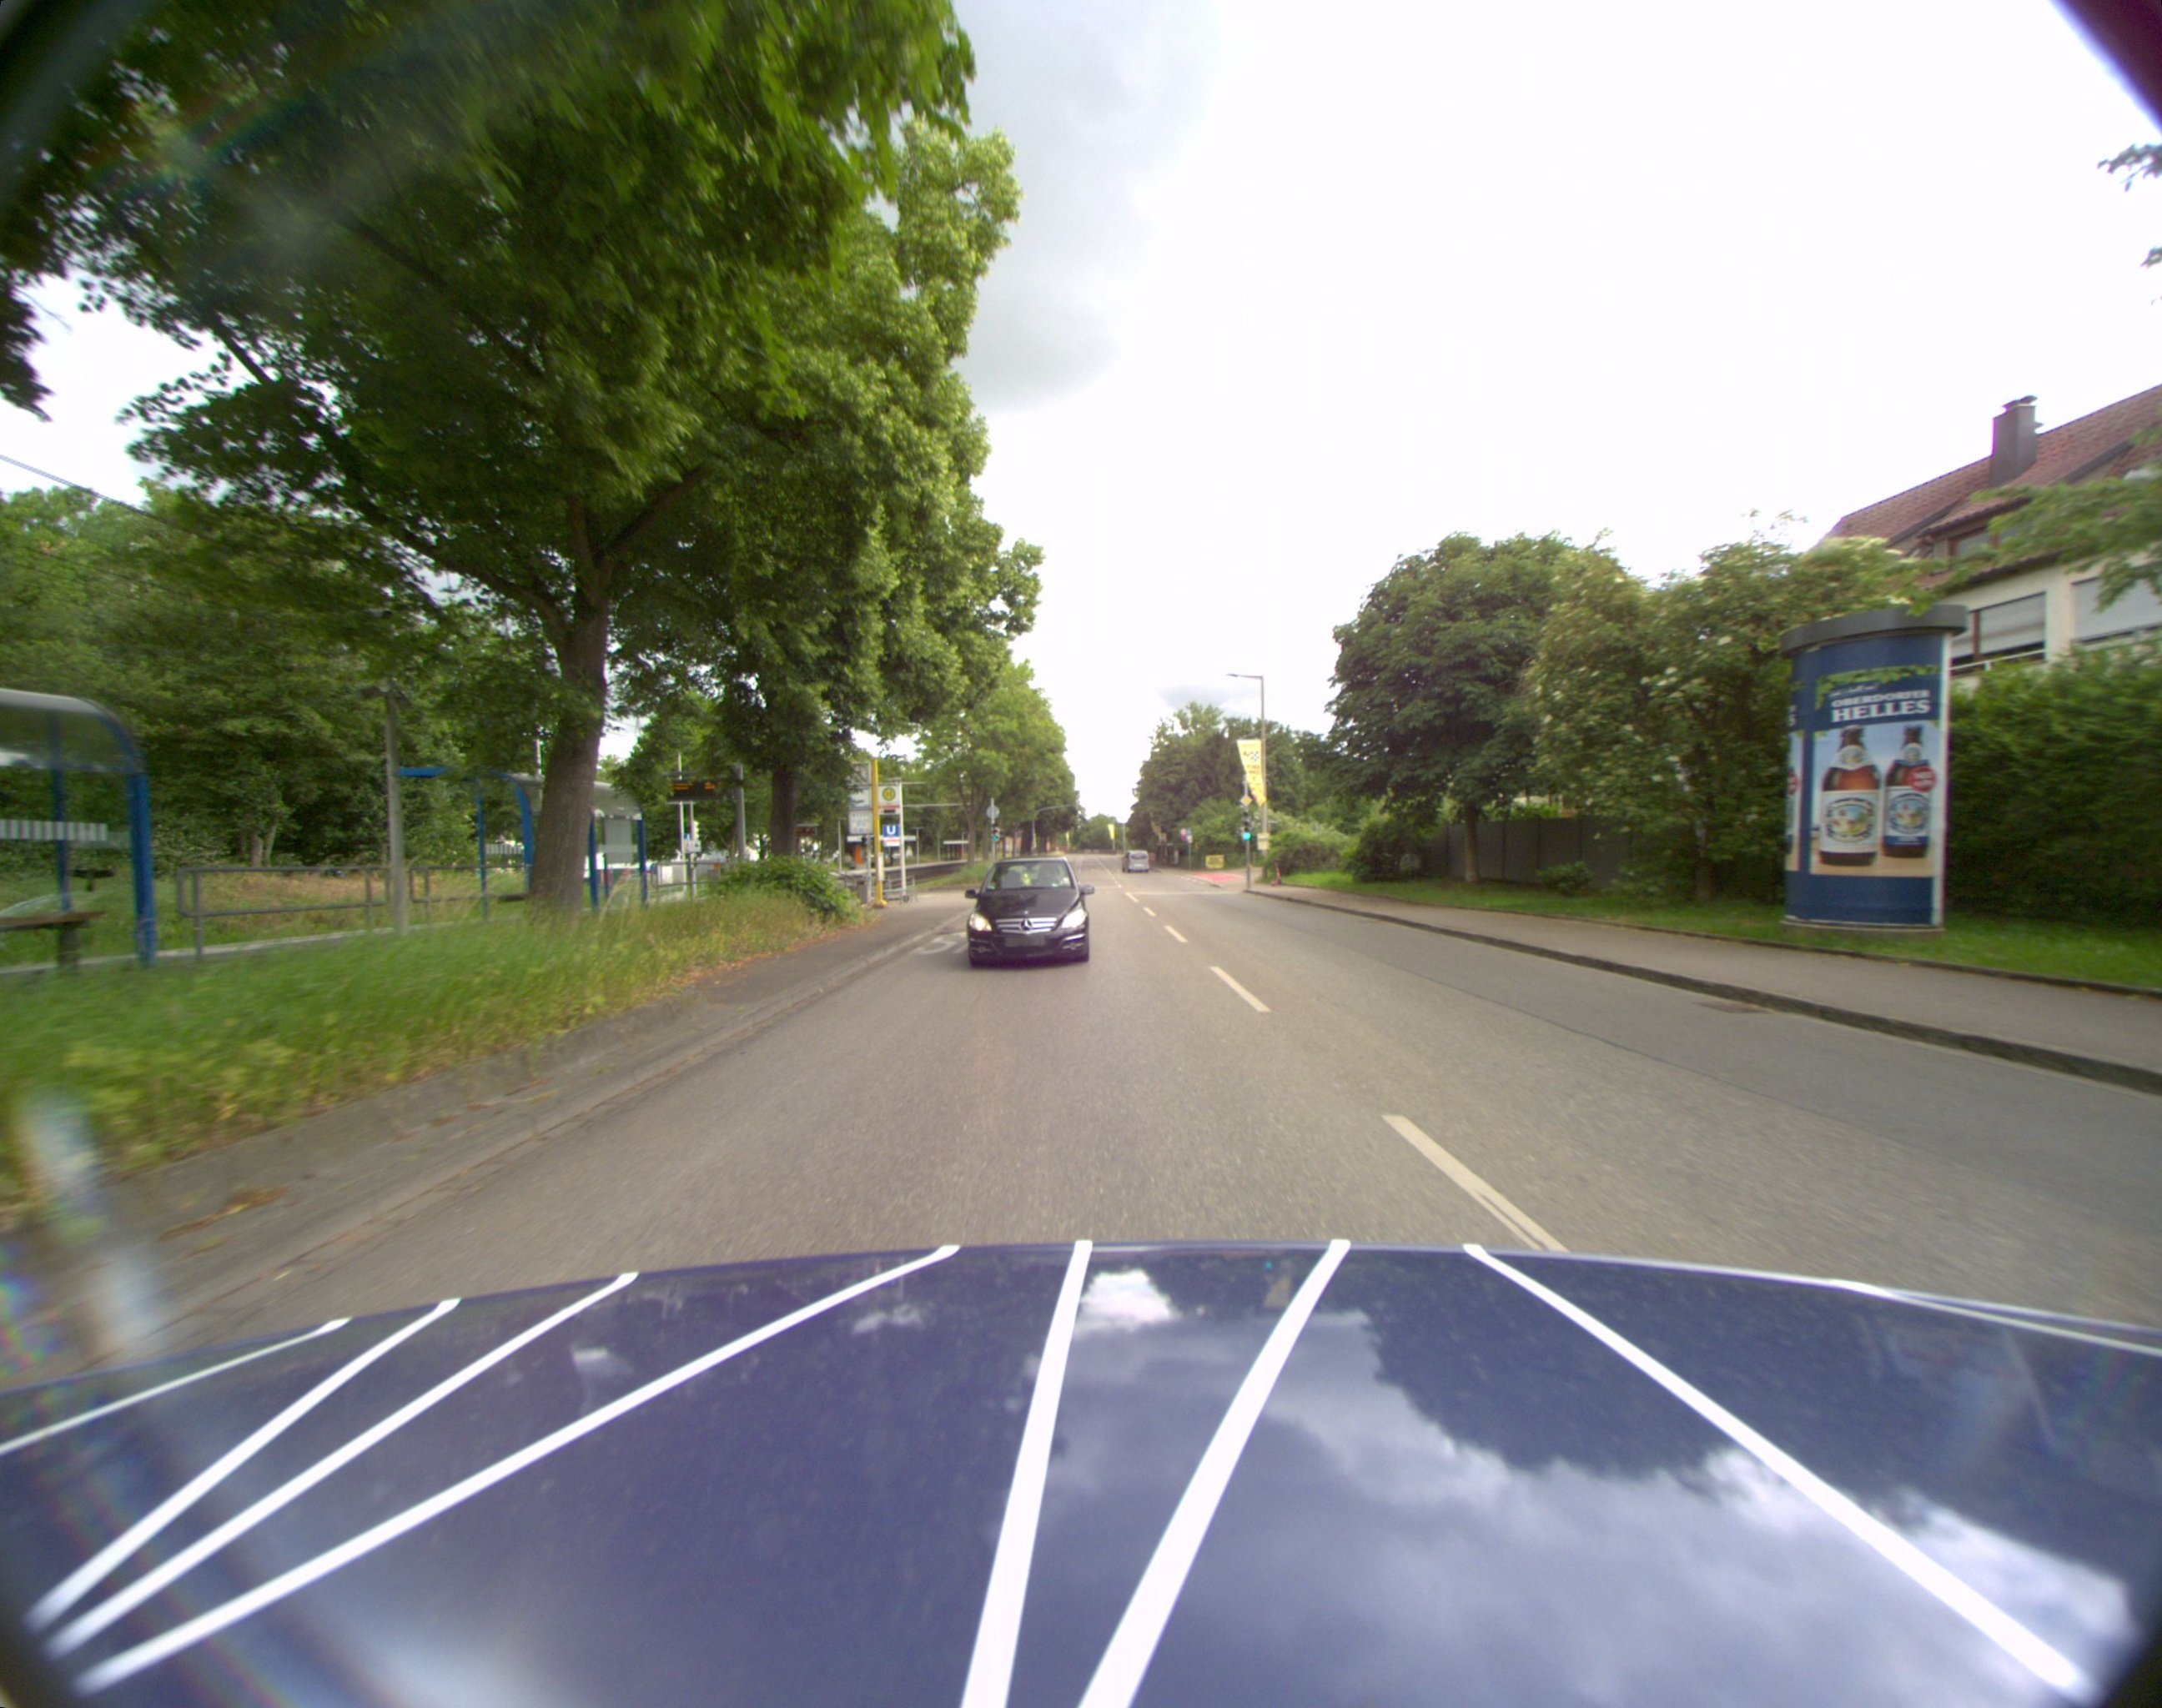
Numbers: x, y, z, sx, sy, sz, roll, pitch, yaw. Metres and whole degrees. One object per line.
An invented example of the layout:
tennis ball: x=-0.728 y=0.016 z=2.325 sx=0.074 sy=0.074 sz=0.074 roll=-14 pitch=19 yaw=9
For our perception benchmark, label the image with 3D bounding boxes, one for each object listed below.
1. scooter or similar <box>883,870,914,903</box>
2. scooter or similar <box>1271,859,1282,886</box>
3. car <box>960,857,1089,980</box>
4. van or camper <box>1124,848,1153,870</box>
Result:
scooter or similar: x=-6.944 y=1.236 z=28.956 sx=1.088 sy=1.201 sz=0.364 roll=-1 pitch=1 yaw=-7
scooter or similar: x=9.075 y=0.844 z=35.245 sx=0.253 sy=1.209 sz=1.280 roll=-1 pitch=0 yaw=5
car: x=-0.781 y=0.891 z=12.619 sx=1.683 sy=1.565 sz=4.482 roll=-3 pitch=0 yaw=0
van or camper: x=5.189 y=0.443 z=68.900 sx=1.918 sy=1.888 sz=4.810 roll=-1 pitch=0 yaw=-4
